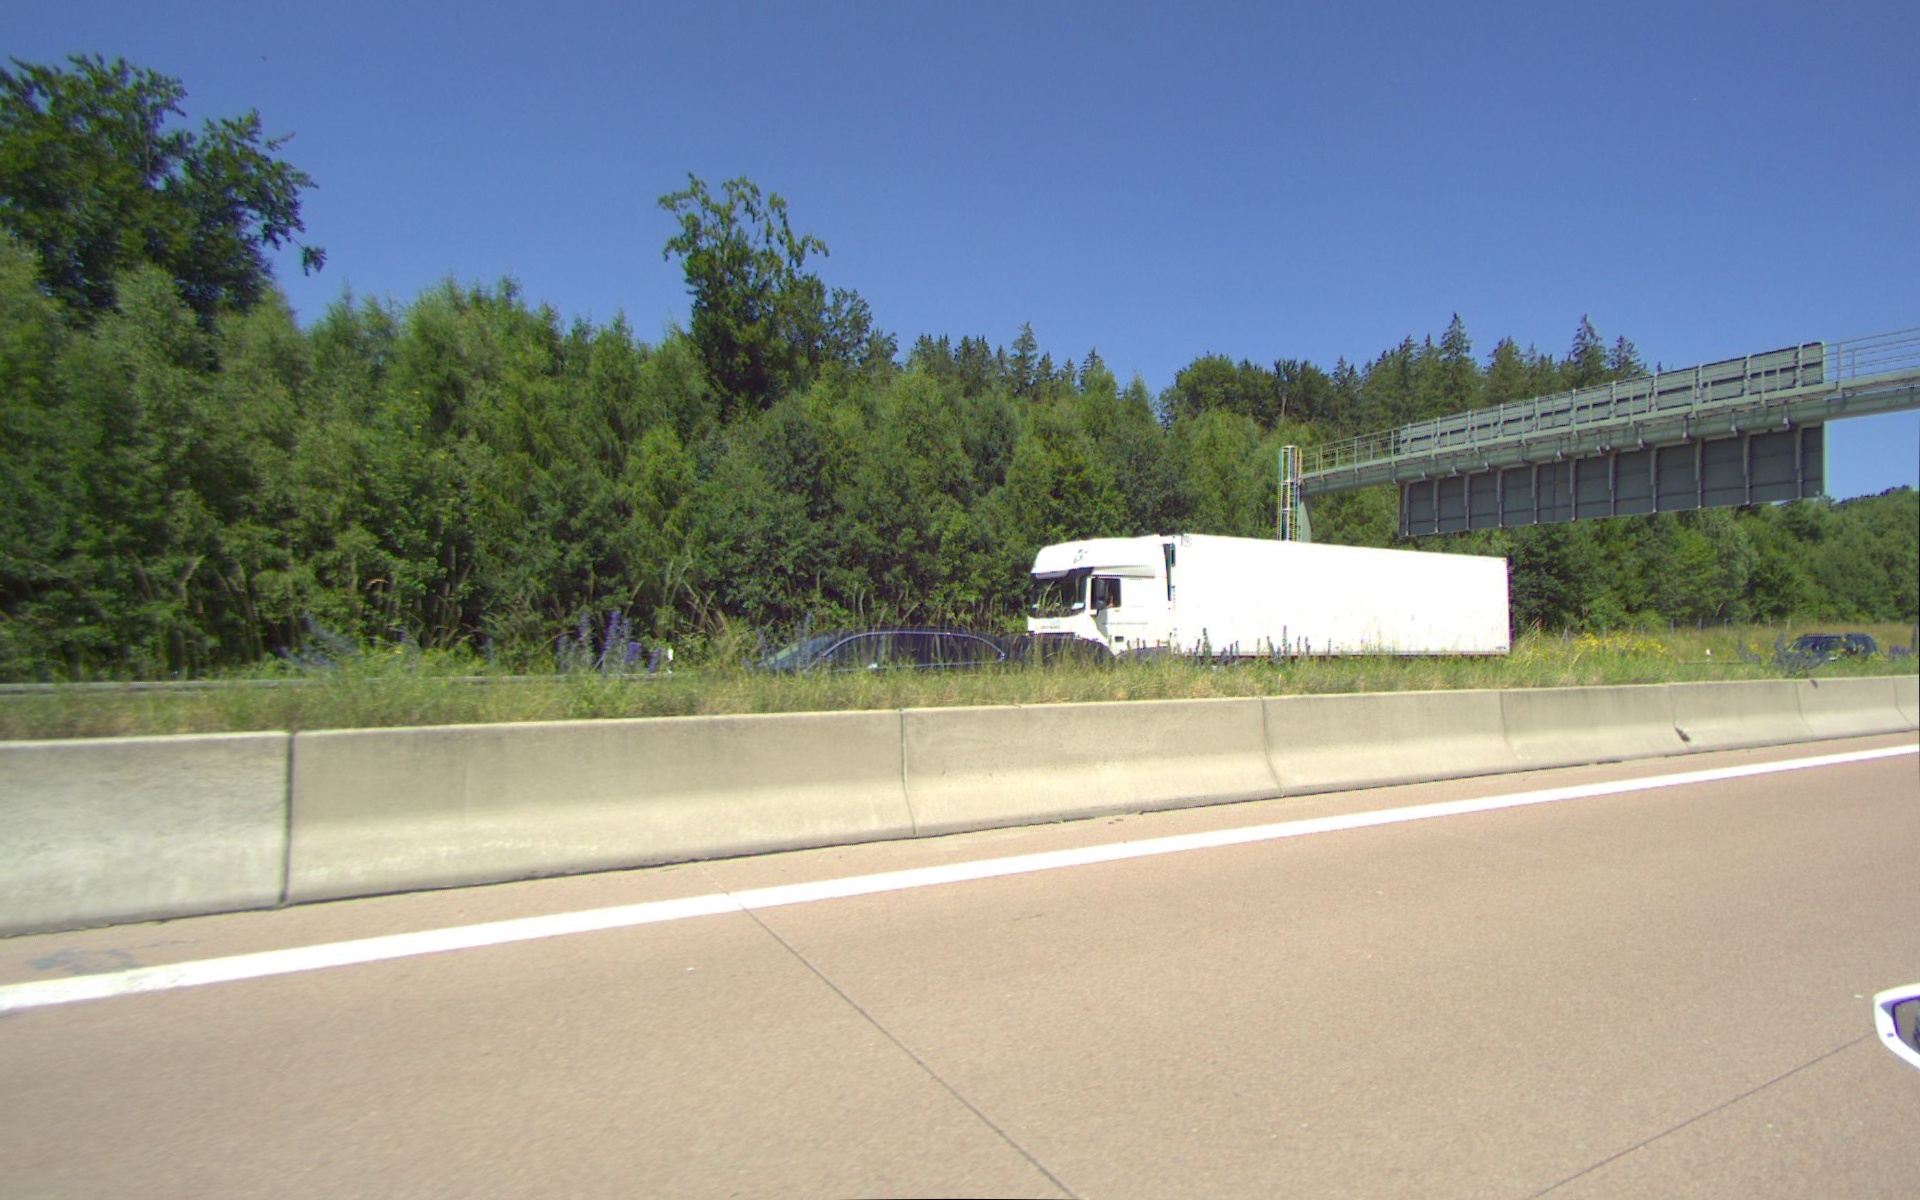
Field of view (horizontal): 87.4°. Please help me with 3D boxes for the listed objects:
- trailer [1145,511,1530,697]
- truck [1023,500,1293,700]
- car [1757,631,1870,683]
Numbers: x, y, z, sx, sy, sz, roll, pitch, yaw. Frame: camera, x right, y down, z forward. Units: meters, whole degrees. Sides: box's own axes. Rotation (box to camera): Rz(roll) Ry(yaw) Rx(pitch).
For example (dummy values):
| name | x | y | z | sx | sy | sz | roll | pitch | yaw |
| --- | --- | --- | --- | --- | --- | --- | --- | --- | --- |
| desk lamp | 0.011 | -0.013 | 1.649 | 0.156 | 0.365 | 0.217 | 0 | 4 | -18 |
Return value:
| name | x | y | z | sx | sy | sz | roll | pitch | yaw |
| --- | --- | --- | --- | --- | --- | --- | --- | --- | --- |
| trailer | 11.200 | 0.246 | 28.721 | 13.037 | 4.493 | 2.690 | 1 | -1 | -30 |
| truck | 5.010 | 0.073 | 25.125 | 6.400 | 4.439 | 2.691 | 1 | -1 | -30 |
| car | 29.929 | 1.955 | 35.196 | 3.955 | 1.677 | 1.881 | 1 | -1 | -31 |
